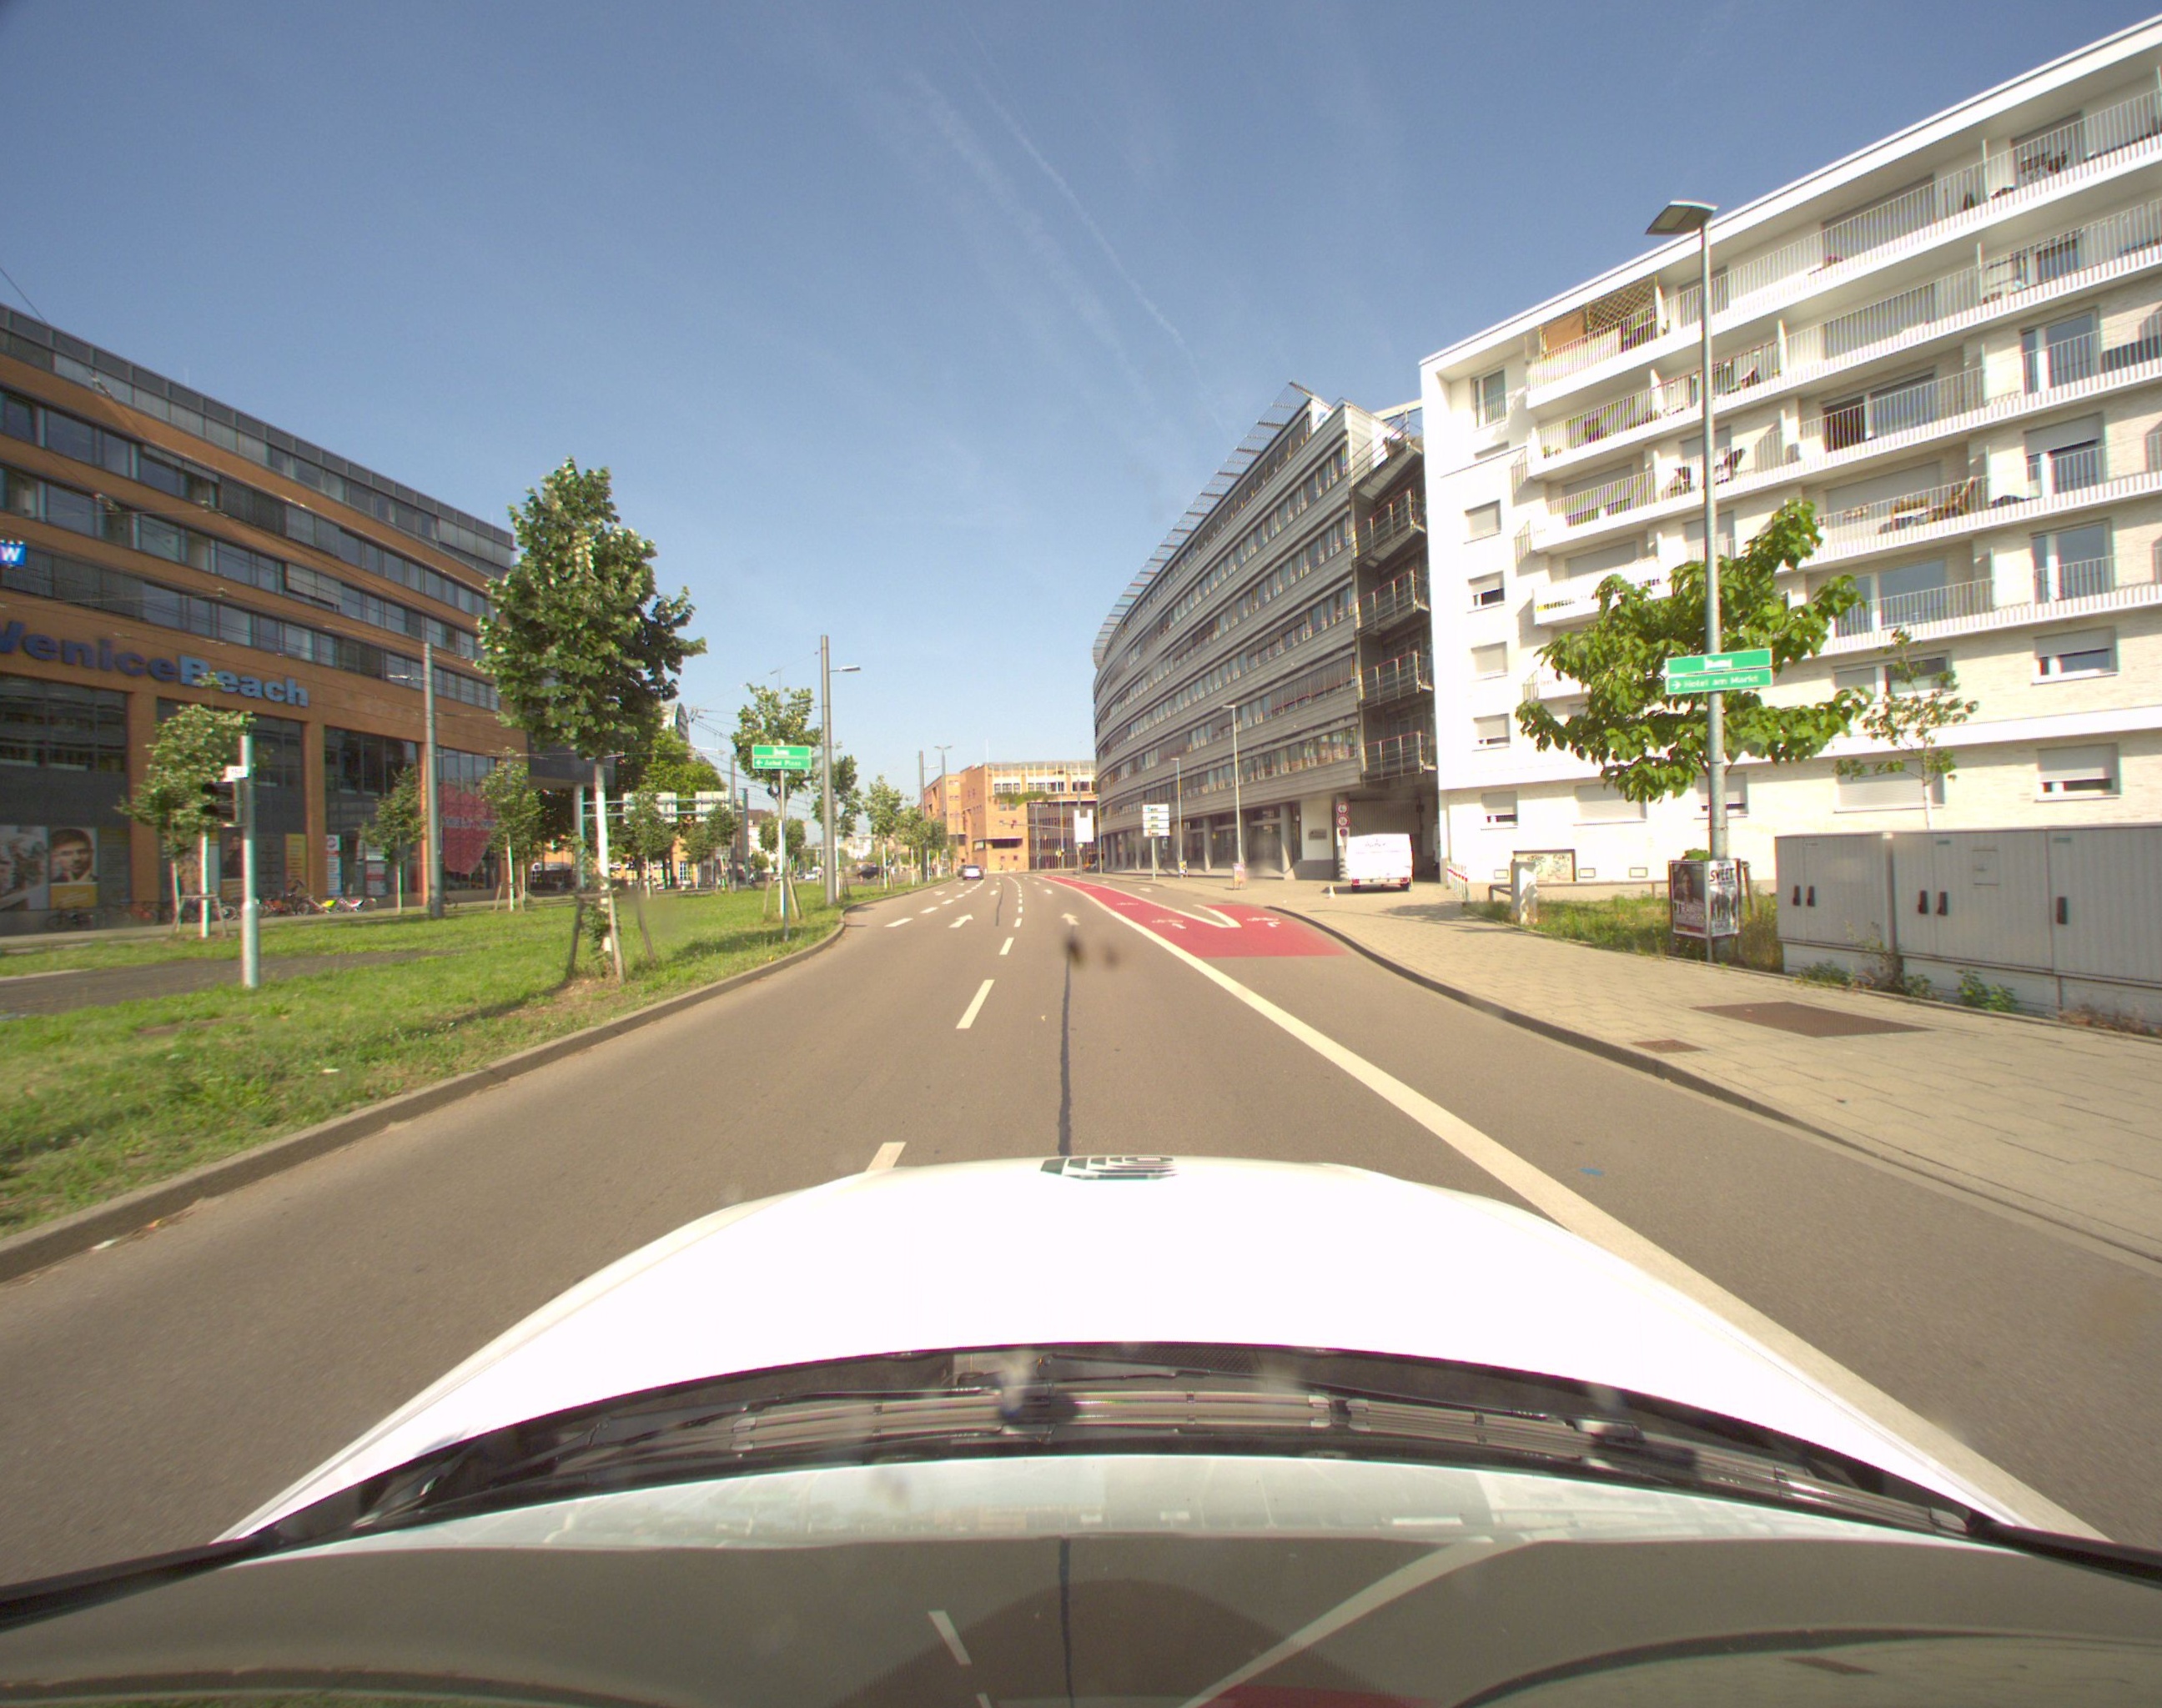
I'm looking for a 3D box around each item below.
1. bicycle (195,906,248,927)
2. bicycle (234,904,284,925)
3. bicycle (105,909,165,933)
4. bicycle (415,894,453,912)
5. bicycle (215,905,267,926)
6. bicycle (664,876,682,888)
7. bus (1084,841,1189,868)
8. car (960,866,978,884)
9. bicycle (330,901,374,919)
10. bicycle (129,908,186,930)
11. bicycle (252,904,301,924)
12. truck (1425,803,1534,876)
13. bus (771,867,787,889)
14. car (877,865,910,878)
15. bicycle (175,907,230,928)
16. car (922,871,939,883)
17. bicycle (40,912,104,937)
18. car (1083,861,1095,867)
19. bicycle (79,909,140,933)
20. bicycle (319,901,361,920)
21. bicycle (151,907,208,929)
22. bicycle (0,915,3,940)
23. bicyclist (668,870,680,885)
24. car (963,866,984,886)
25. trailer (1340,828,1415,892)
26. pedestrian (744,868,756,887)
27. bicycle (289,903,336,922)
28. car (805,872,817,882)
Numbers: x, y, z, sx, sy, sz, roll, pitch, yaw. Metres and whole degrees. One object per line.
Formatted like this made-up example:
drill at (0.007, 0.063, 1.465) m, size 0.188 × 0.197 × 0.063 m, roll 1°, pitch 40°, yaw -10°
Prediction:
bicycle at (-41.486, 3.002, 39.304) m, size 2.039 × 0.921 × 0.574 m, roll -2°, pitch -1°, yaw 4°
bicycle at (-41.444, 3.055, 41.055) m, size 2.039 × 0.921 × 0.574 m, roll -2°, pitch -1°, yaw 4°
bicycle at (-41.597, 2.940, 35.811) m, size 2.039 × 0.921 × 0.574 m, roll -2°, pitch -1°, yaw 4°
bicycle at (-36.080, 2.733, 45.422) m, size 1.666 × 0.907 × 0.711 m, roll -2°, pitch -1°, yaw 7°
bicycle at (-41.439, 3.031, 40.164) m, size 2.039 × 0.921 × 0.574 m, roll -2°, pitch -1°, yaw 4°
bicycle at (-47.448, 3.258, 94.659) m, size 2.260 × 1.206 × 0.553 m, roll -3°, pitch -2°, yaw 22°
bus at (9.511, 0.107, 140.127) m, size 17.596 × 3.811 × 2.857 m, roll -2°, pitch -2°, yaw -8°
car at (-13.894, 2.618, 101.373) m, size 1.991 × 2.014 × 4.232 m, roll -2°, pitch -2°, yaw -6°
bicycle at (-41.162, 3.167, 45.998) m, size 2.039 × 0.921 × 0.574 m, roll -2°, pitch -1°, yaw 4°
bicycle at (-41.594, 2.929, 36.685) m, size 2.039 × 0.921 × 0.574 m, roll -2°, pitch -1°, yaw 4°
bicycle at (-41.431, 3.067, 41.957) m, size 2.039 × 0.921 × 0.574 m, roll -2°, pitch -1°, yaw 4°
truck at (20.008, -0.770, 40.744) m, size 6.180 × 3.097 × 1.978 m, roll -6°, pitch 0°, yaw -36°
bus at (-60.759, 4.901, 163.810) m, size 2.755 × 3.922 × 12.134 m, roll -2°, pitch -2°, yaw -19°
car at (-26.357, 2.456, 114.293) m, size 4.023 × 1.678 × 1.975 m, roll 0°, pitch -3°, yaw -44°
bicycle at (-41.471, 2.998, 38.441) m, size 2.039 × 0.921 × 0.574 m, roll -2°, pitch -1°, yaw 4°
car at (-27.999, 4.308, 151.473) m, size 2.004 × 2.014 × 3.965 m, roll -1°, pitch -2°, yaw -26°
bicycle at (-41.694, 2.910, 33.649) m, size 2.039 × 0.921 × 0.574 m, roll -2°, pitch -1°, yaw 4°
car at (1.322, 1.626, 135.053) m, size 1.950 × 0.958 × 1.091 m, roll 0°, pitch -3°, yaw -8°
bicycle at (-41.661, 2.886, 34.929) m, size 2.039 × 0.921 × 0.574 m, roll -2°, pitch -1°, yaw 4°
bicycle at (-41.177, 3.142, 45.261) m, size 2.039 × 0.921 × 0.381 m, roll -2°, pitch -1°, yaw 4°
bicycle at (-41.537, 2.946, 37.525) m, size 2.039 × 0.921 × 0.574 m, roll -2°, pitch -1°, yaw 4°
bicycle at (-42.014, 2.820, 30.723) m, size 2.039 × 0.921 × 0.574 m, roll -2°, pitch -1°, yaw 4°
bicyclist at (-47.301, 2.702, 94.623) m, size 0.956 × 1.747 × 0.670 m, roll -3°, pitch -2°, yaw 22°
car at (-10.040, 2.100, 76.204) m, size 1.703 × 1.755 × 3.882 m, roll -2°, pitch -2°, yaw -6°
trailer at (11.422, 0.215, 31.375) m, size 2.369 × 2.151 × 5.980 m, roll -2°, pitch 0°, yaw 20°
pedestrian at (-36.591, 2.630, 90.102) m, size 1.159 × 2.014 × 0.771 m, roll -2°, pitch -2°, yaw -20°
bicycle at (-41.151, 3.118, 43.616) m, size 2.039 × 0.921 × 0.574 m, roll -2°, pitch -1°, yaw 4°
car at (-46.649, 3.932, 140.667) m, size 1.732 × 1.542 × 3.429 m, roll -2°, pitch -2°, yaw -15°
